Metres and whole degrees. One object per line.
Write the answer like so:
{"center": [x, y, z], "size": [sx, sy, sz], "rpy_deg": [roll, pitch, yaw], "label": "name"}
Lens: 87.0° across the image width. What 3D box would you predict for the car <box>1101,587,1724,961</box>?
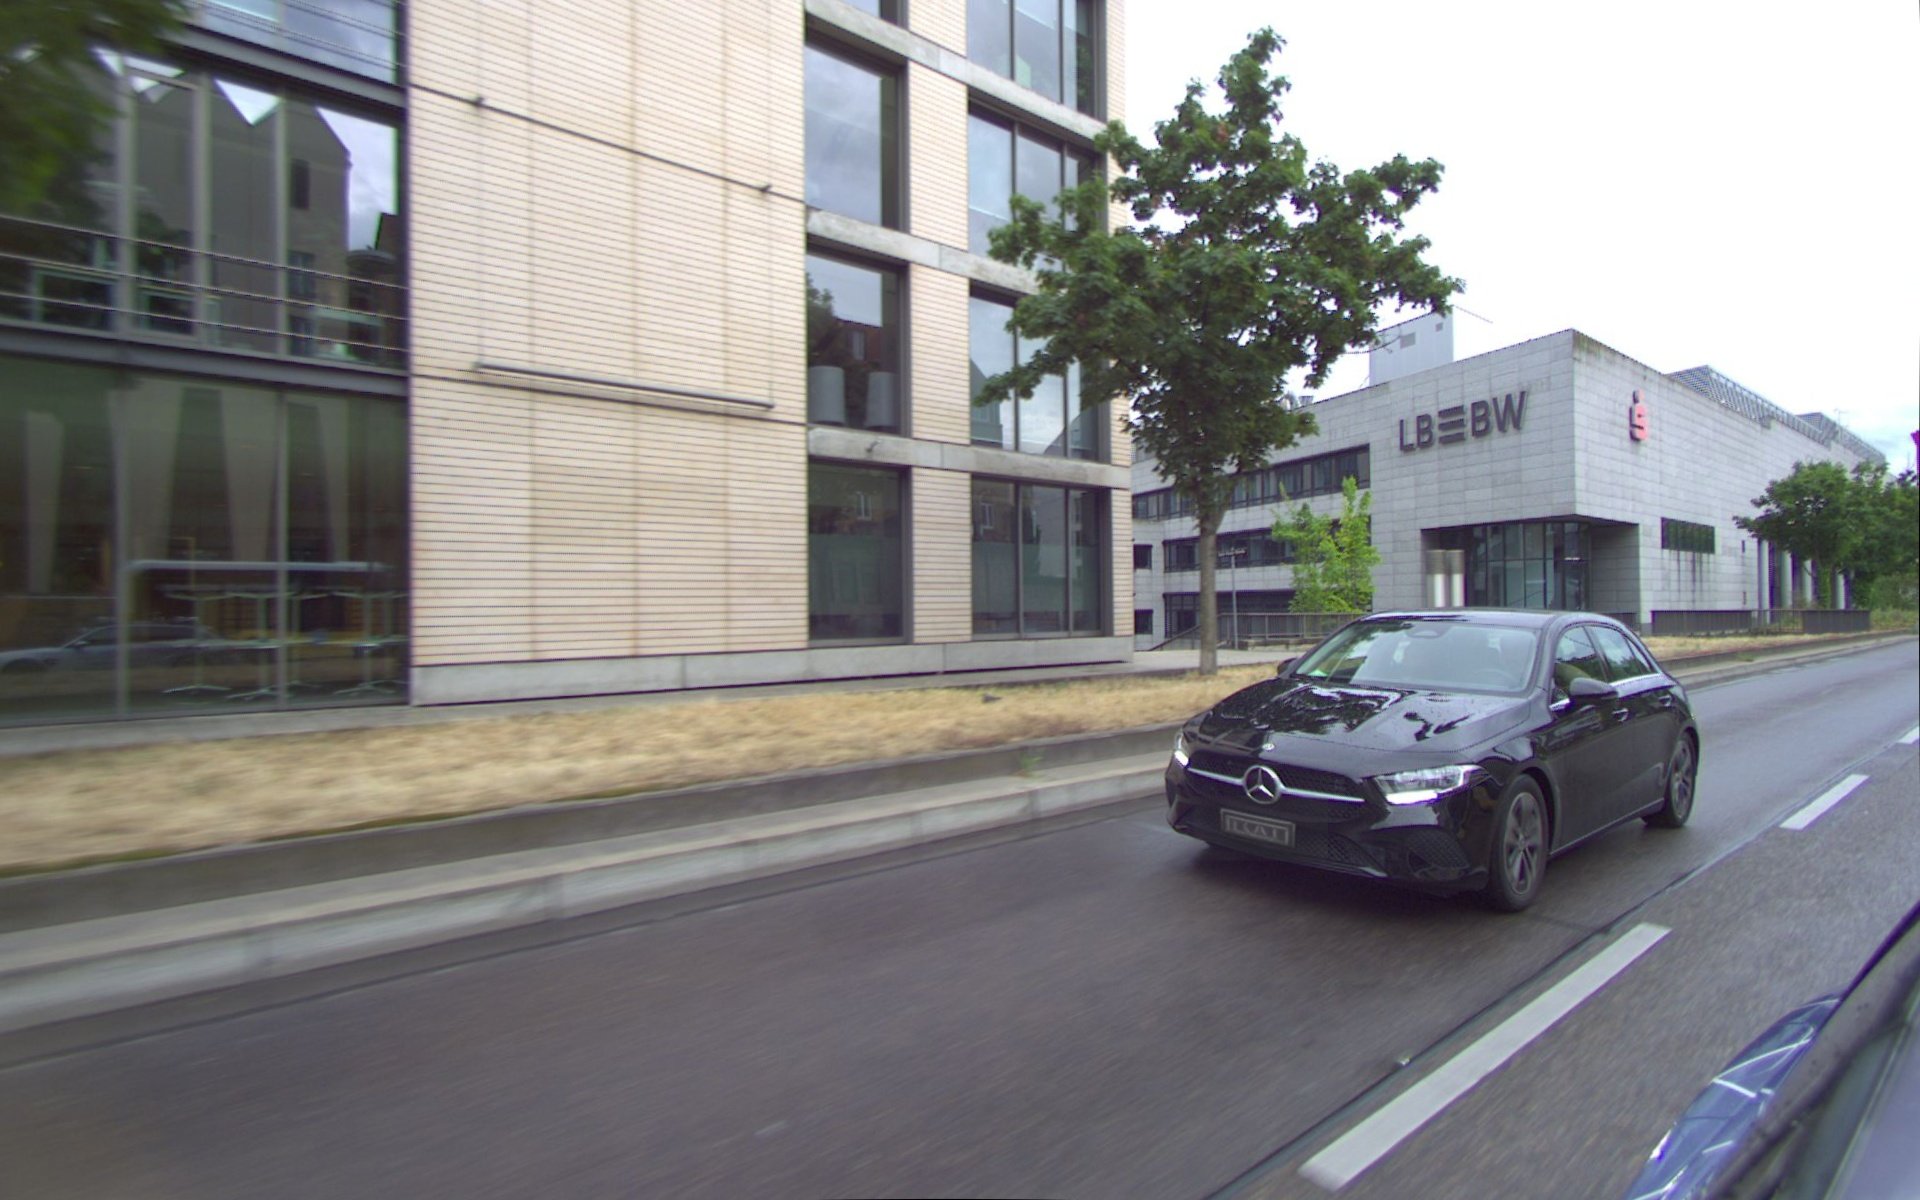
{"center": [2.907, 0.654, 6.051], "size": [4.133, 1.454, 1.875], "rpy_deg": [-1, 1, -42], "label": "car"}
